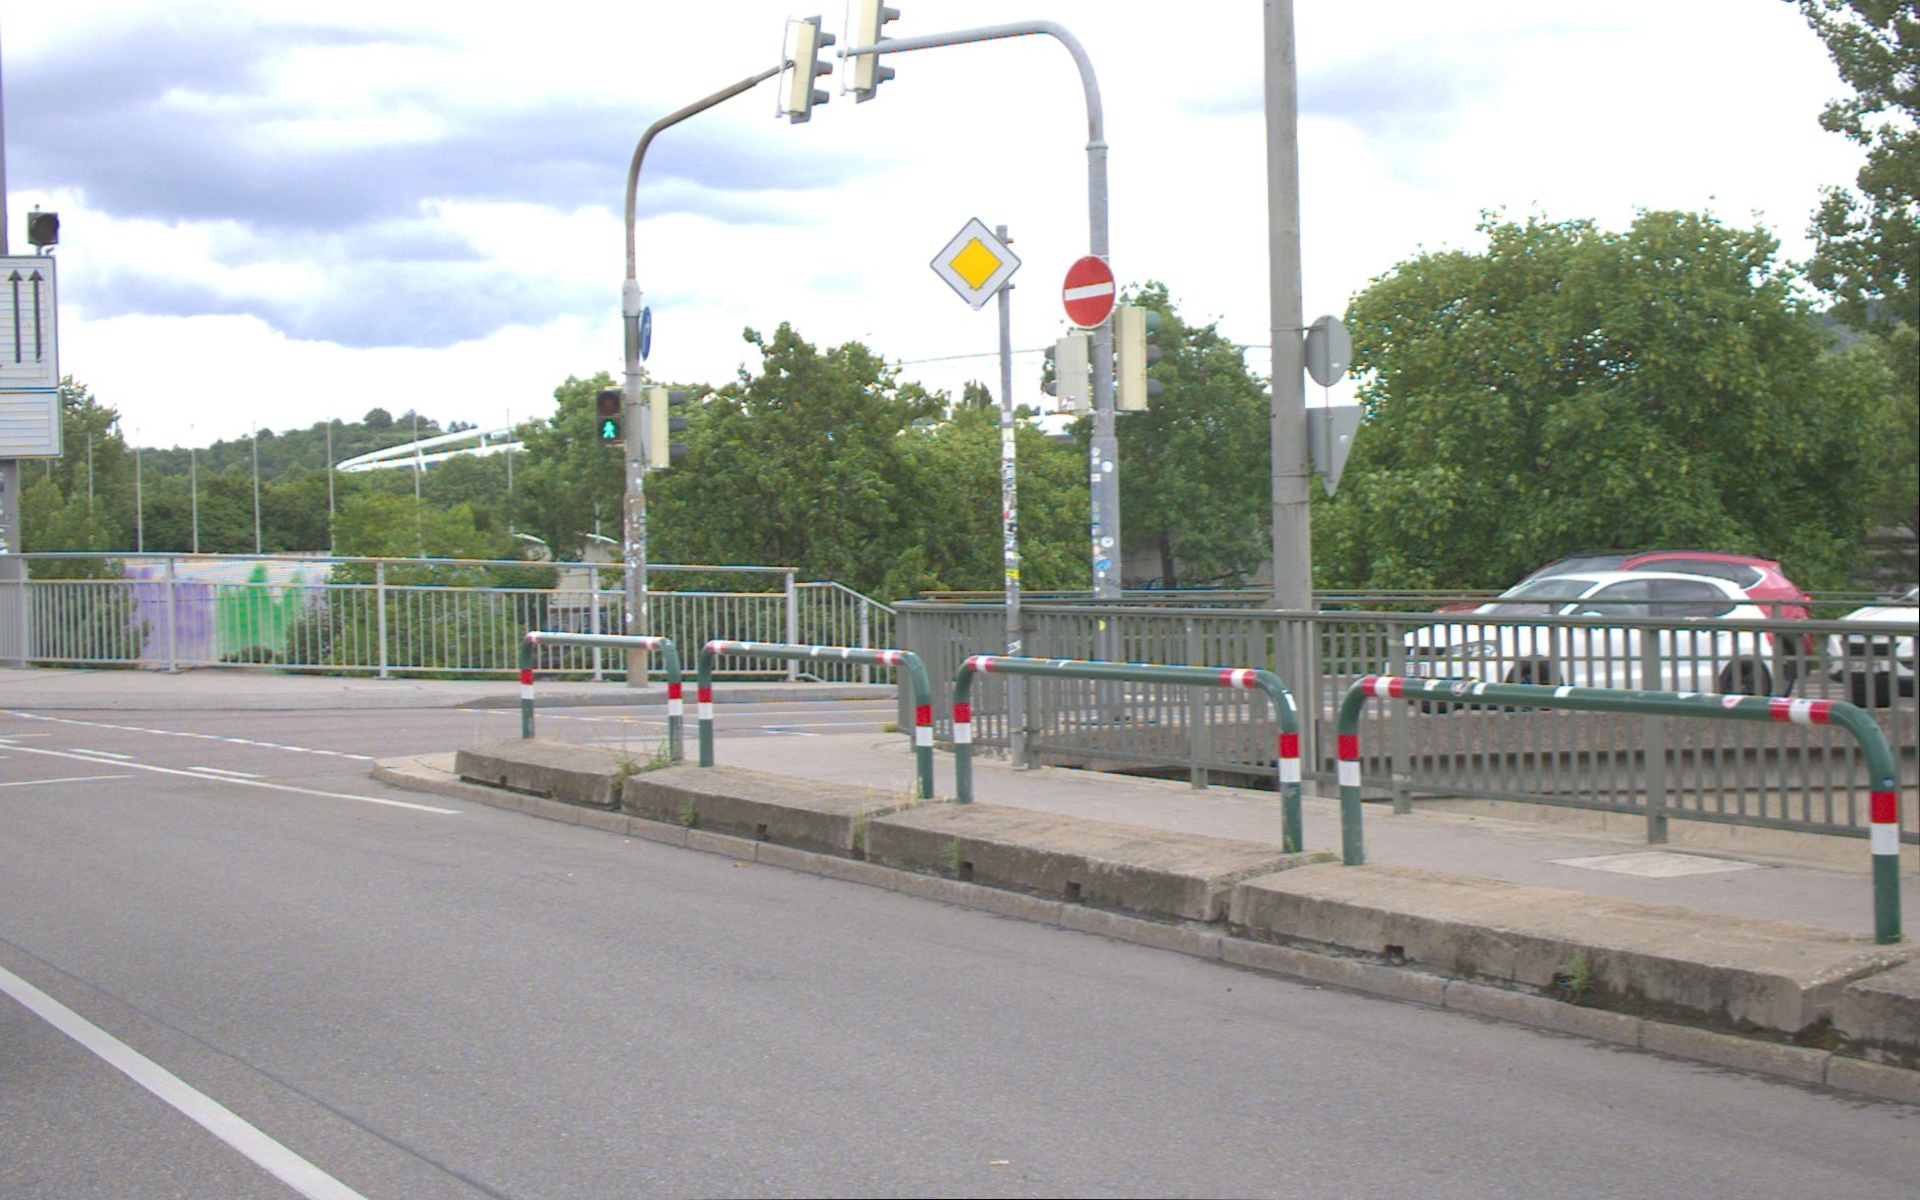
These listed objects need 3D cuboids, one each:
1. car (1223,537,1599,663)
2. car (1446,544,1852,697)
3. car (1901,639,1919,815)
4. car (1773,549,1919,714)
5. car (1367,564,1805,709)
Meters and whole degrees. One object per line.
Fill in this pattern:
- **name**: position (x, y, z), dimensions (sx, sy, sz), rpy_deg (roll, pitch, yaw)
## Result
- **car**: position (5.298, 0.019, 40.318), dimensions (4.139, 1.416, 1.696), rpy_deg (0, -1, -28)
- **car**: position (7.267, 0.220, 36.212), dimensions (3.994, 1.534, 1.696), rpy_deg (0, -1, -27)
- **car**: position (13.443, 1.328, 39.768), dimensions (4.530, 2.006, 2.214), rpy_deg (-5, 3, -26)
- **car**: position (10.746, 0.320, 35.359), dimensions (4.327, 1.614, 2.000), rpy_deg (0, -1, -26)
- **car**: position (5.935, 0.341, 32.595), dimensions (3.752, 1.309, 1.791), rpy_deg (0, -1, -26)
